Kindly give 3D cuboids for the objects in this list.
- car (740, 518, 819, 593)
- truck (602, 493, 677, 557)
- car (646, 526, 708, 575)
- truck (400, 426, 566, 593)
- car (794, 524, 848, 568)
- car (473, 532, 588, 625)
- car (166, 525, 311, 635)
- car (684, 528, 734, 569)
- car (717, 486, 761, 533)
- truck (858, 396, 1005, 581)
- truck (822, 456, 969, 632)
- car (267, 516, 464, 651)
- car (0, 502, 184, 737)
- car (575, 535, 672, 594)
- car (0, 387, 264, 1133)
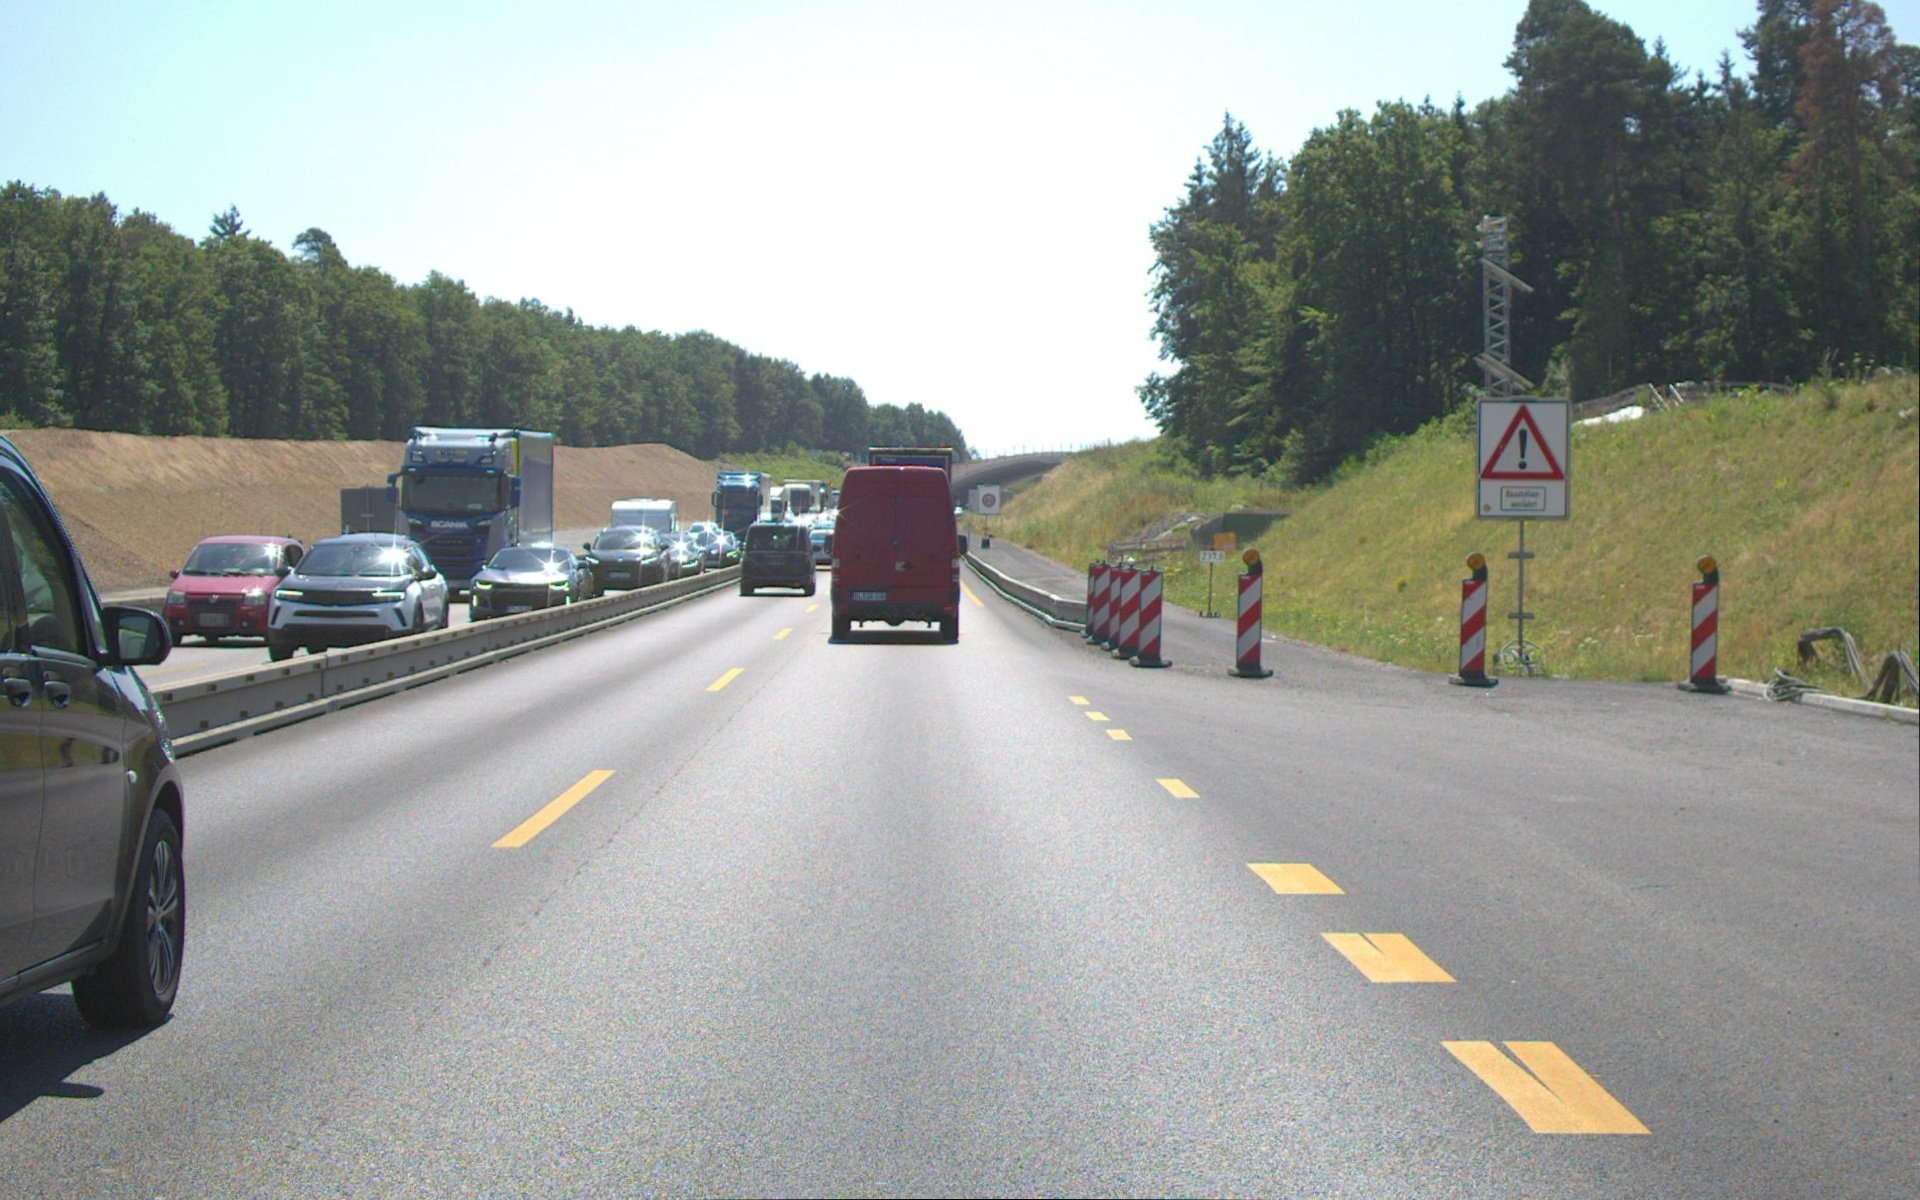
[{"bbox_3d":[-4.532,-1.133,86.926,1.751,1.818,4.783,1,1,-1],"label":"car"},{"bbox_3d":[-12.564,-2.916,134.917,2.400,2.350,5.227,1,0,0],"label":"truck"},{"bbox_3d":[-8.172,-1.427,99.616,1.464,1.323,3.371,1,0,1],"label":"car"},{"bbox_3d":[-11.112,-2.024,80.938,2.509,3.605,9.641,1,0,0],"label":"truck"},{"bbox_3d":[-5.109,-1.992,126.635,1.831,1.517,3.961,1,0,-1],"label":"car"},{"bbox_3d":[-7.684,-0.369,61.718,1.683,1.590,3.224,1,0,-1],"label":"car"},{"bbox_3d":[-9.985,-0.266,47.747,1.376,1.457,3.152,1,0,-1],"label":"car"},{"bbox_3d":[-8.798,-1.799,120.671,1.464,1.323,3.371,1,0,1],"label":"car"},{"bbox_3d":[-12.814,-5.224,199.401,2.385,2.571,4.000,1,0,-2],"label":"car"},{"bbox_3d":[-0.975,-3.487,114.029,4.400,5.477,16.603,1,0,-1],"label":"truck"},{"bbox_3d":[-0.999,-0.839,54.070,2.153,2.581,5.333,1,0,-1],"label":"truck"},{"bbox_3d":[-7.284,-0.191,42.448,1.625,1.552,4.068,1,0,1],"label":"car"},{"bbox_3d":[-7.182,0.126,26.010,1.724,1.625,4.391,1,0,-2],"label":"car"},{"bbox_3d":[-7.967,-0.822,81.657,1.841,1.323,3.942,1,0,1],"label":"car"},{"bbox_3d":[-3.306,0.376,9.017,1.874,1.845,5.479,1,1,-1],"label":"car"}]
